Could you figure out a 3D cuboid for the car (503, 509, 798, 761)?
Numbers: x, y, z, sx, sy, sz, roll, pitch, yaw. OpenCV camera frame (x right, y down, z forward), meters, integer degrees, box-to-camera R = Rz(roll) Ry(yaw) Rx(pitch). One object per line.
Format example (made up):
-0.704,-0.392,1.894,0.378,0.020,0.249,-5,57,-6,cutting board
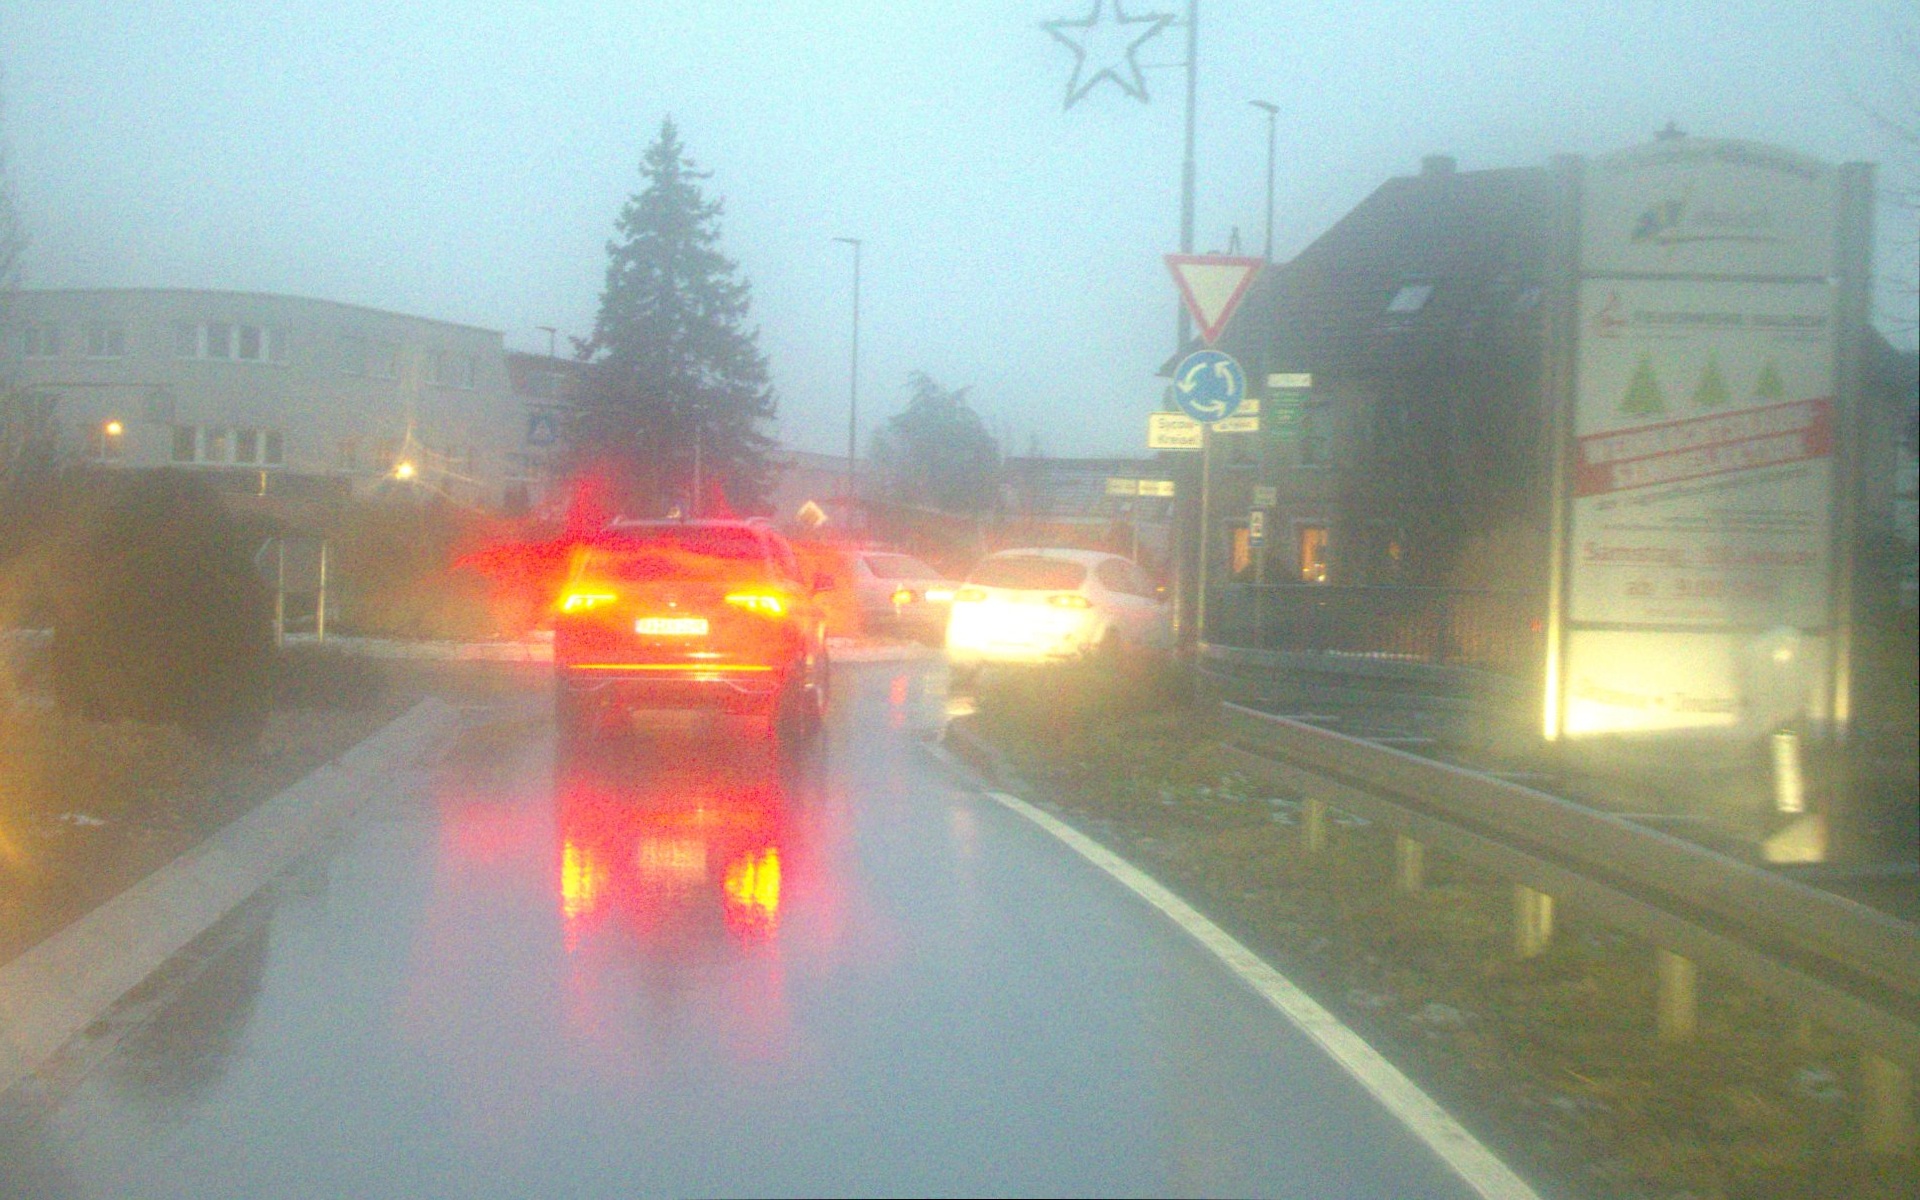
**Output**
-2.279,0.223,26.288,1.944,1.712,4.000,2,1,-2,car

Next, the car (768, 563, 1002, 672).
-1.230,0.289,53.964,1.882,1.609,4.572,1,-1,-26,car

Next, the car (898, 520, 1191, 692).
1.010,0.004,37.749,2.165,1.683,4.568,2,2,15,car
